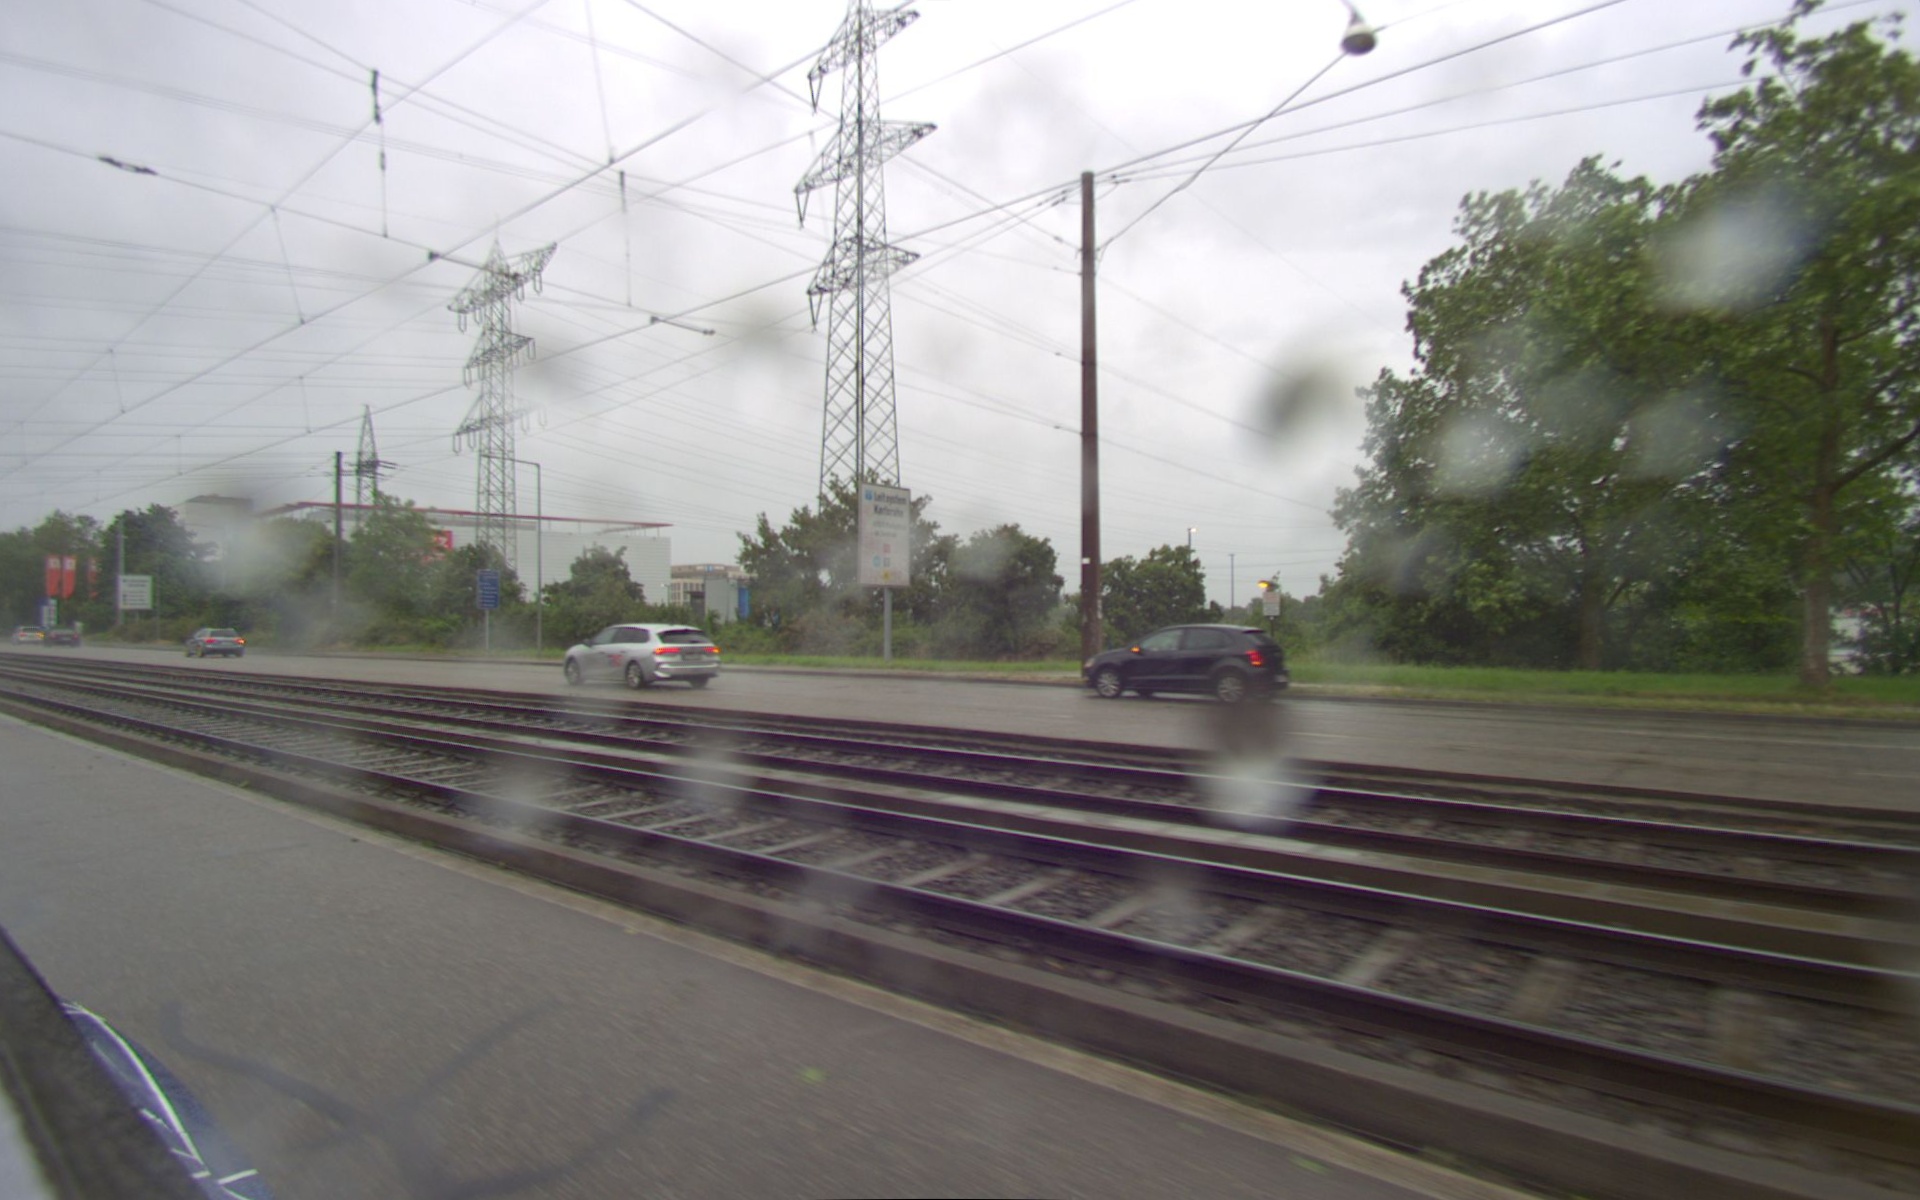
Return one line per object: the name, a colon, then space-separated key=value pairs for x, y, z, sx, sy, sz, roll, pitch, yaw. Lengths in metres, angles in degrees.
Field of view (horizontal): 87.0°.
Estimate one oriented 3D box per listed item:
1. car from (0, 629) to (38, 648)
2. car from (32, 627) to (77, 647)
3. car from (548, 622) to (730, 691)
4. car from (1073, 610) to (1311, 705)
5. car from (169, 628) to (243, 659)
car: x=-82.999 y=3.395 z=89.214 sx=5.060 sy=1.586 sz=1.824 roll=-2 pitch=-1 yaw=39
car: x=-70.098 y=2.878 z=78.323 sx=5.249 sy=1.475 sz=1.972 roll=-2 pitch=-4 yaw=42
car: x=-7.328 y=1.245 z=22.869 sx=4.541 sy=1.364 sz=1.724 roll=-2 pitch=-1 yaw=40
car: x=4.284 y=1.038 z=18.969 sx=3.995 sy=1.564 sz=1.673 roll=-2 pitch=-1 yaw=38
car: x=-37.384 y=2.161 z=50.150 sx=5.065 sy=1.373 sz=1.740 roll=-2 pitch=-1 yaw=39
